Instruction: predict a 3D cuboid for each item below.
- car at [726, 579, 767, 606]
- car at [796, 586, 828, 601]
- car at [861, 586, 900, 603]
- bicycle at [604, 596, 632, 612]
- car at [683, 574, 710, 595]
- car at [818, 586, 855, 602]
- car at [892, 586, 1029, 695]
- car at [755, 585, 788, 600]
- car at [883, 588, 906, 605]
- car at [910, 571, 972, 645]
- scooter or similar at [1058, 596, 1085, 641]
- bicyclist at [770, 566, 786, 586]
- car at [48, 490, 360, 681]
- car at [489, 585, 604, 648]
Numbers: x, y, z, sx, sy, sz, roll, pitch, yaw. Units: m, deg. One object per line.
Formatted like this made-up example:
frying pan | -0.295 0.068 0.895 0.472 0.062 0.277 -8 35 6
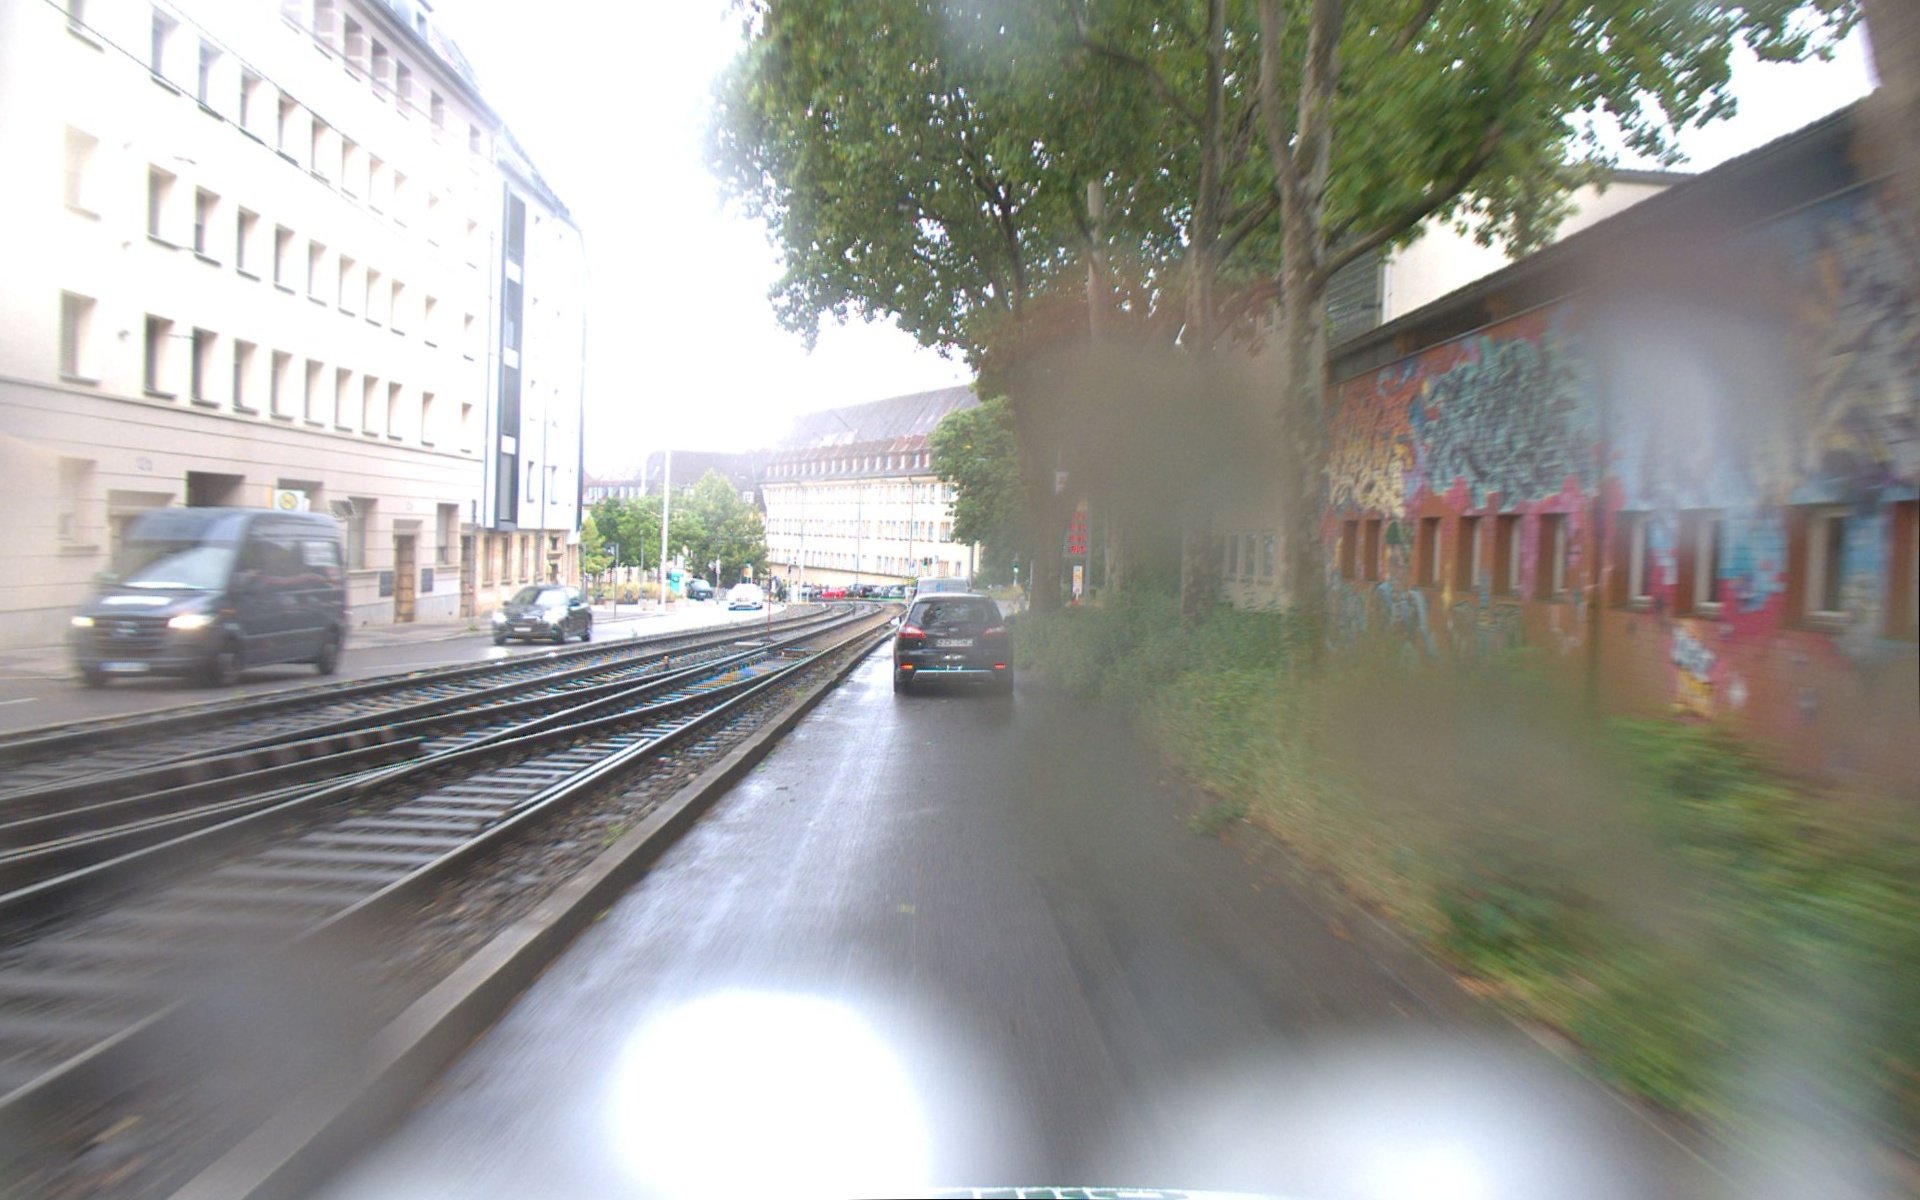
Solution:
car | -12.485 -0.409 97.015 1.762 1.508 4.840 1 0 0
car | -15.565 -0.700 173.408 1.971 1.569 3.964 0 1 -28
car | -7.696 -0.512 159.557 1.977 1.569 3.951 1 0 -35
bicycle | -23.178 0.265 112.233 1.777 1.079 0.570 1 0 -4
car | -20.216 -1.177 126.828 1.957 1.569 3.990 1 0 -10
car | -12.650 -0.576 168.664 1.978 1.569 3.948 1 0 -37
car | -0.067 0.579 25.566 1.894 1.478 4.316 2 0 -2
car | -20.597 -0.800 180.870 1.976 1.569 3.954 1 0 -33
car | -6.180 -0.346 155.753 1.627 1.502 3.636 1 0 -9
car | -0.535 0.227 48.769 1.705 2.049 3.903 1 0 0
scooter or similar | 3.175 0.526 46.887 0.365 1.256 1.371 0 -2 21
bicyclist | -12.012 -1.578 109.407 0.766 1.336 0.780 -1 0 -38
car | -11.116 -0.160 24.950 1.953 2.494 5.997 1 -1 -1
car | -10.818 0.392 43.635 1.842 1.512 4.853 1 0 -1
